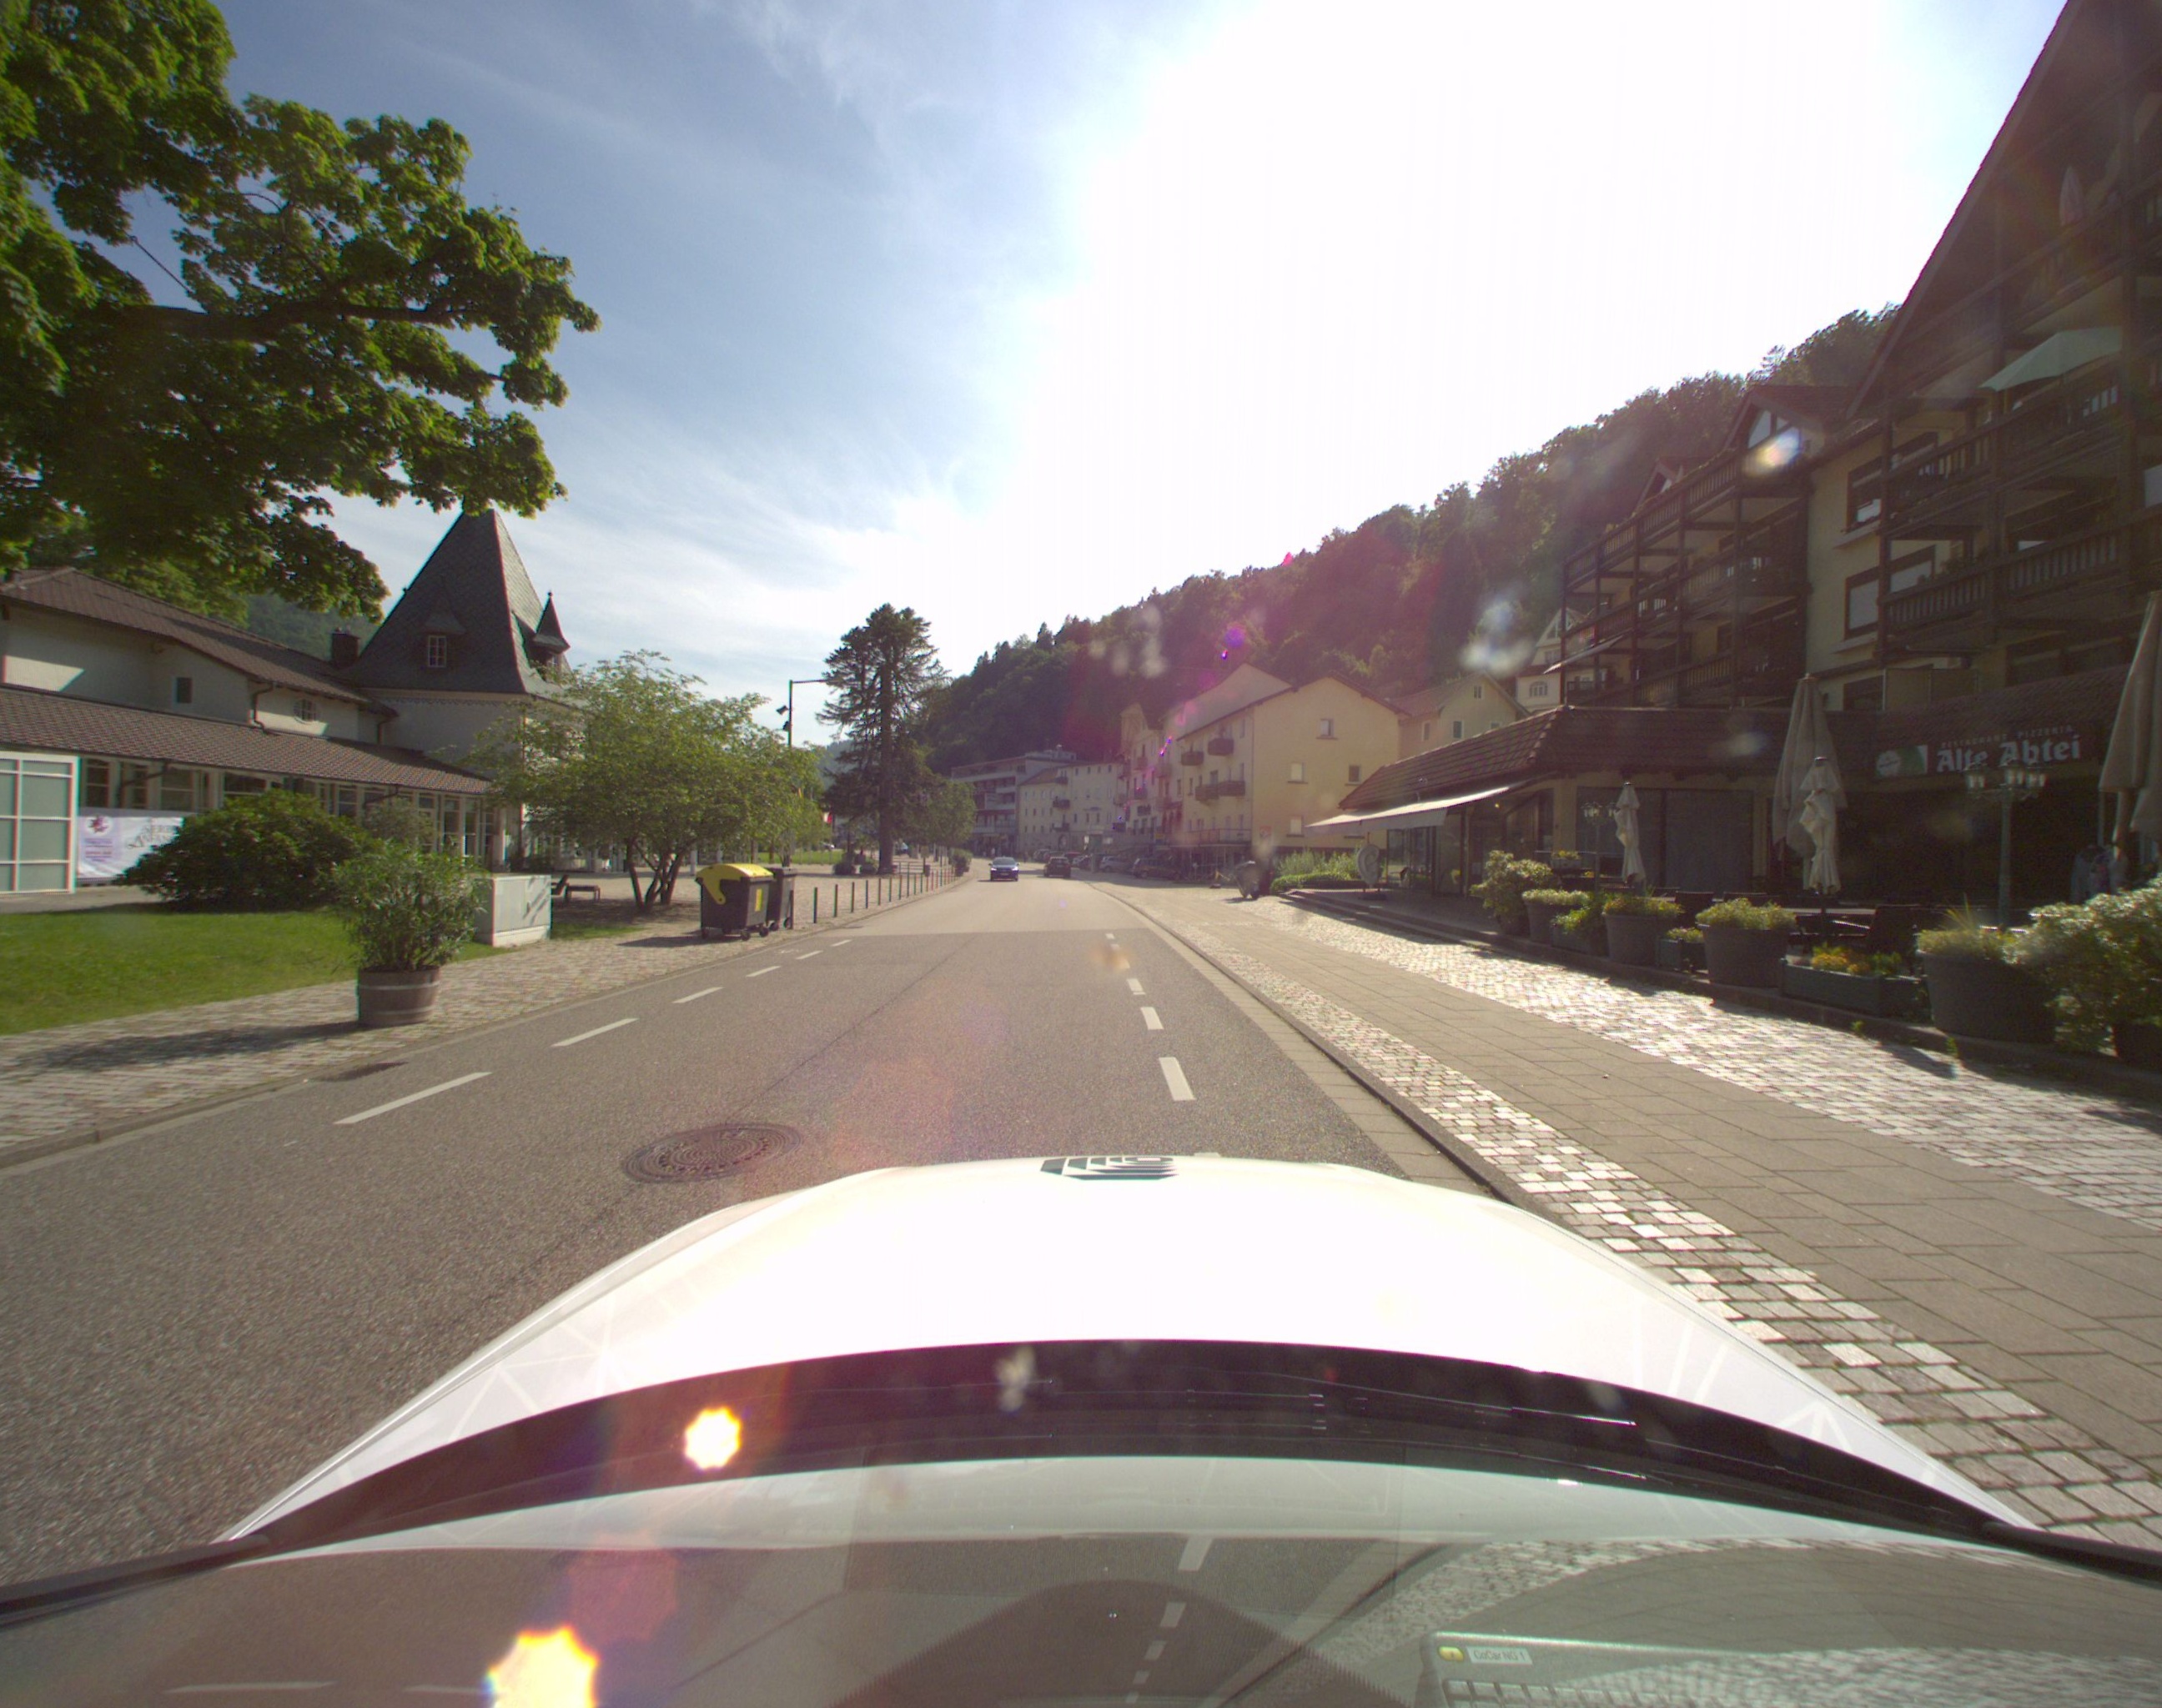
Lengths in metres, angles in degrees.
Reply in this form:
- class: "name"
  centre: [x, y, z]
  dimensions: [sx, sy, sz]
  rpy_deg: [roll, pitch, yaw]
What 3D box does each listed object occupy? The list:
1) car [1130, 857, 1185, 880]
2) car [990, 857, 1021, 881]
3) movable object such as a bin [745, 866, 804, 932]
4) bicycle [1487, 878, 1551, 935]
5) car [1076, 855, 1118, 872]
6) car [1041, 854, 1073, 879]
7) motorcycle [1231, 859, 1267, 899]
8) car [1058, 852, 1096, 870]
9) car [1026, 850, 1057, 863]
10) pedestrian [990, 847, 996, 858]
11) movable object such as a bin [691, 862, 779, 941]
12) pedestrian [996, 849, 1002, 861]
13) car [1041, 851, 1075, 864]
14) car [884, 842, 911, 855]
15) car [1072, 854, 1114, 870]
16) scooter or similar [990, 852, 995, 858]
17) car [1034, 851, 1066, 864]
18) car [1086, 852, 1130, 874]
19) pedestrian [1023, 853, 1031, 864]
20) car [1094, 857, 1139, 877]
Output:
- class: "car"
  centre: [5.883, 1.118, 63.122]
  dimensions: [3.861, 1.554, 1.754]
  rpy_deg: [4, 0, -11]
- class: "car"
  centre: [-4.753, 0.913, 51.880]
  dimensions: [1.737, 1.462, 4.183]
  rpy_deg: [-1, 0, -2]
- class: "movable object such as a bin"
  centre: [-6.716, 0.971, 17.899]
  dimensions: [0.753, 1.341, 1.294]
  rpy_deg: [3, 0, -1]
- class: "bicycle"
  centre: [7.353, 0.862, 13.741]
  dimensions: [0.394, 0.864, 1.619]
  rpy_deg: [1, 0, 7]
- class: "car"
  centre: [1.605, 0.919, 82.094]
  dimensions: [3.907, 1.461, 1.731]
  rpy_deg: [4, 0, -8]
- class: "car"
  centre: [-1.814, 0.922, 60.941]
  dimensions: [1.728, 1.574, 3.738]
  rpy_deg: [2, 2, -12]
- class: "motorcycle"
  centre: [5.766, 0.850, 28.071]
  dimensions: [0.695, 1.296, 2.210]
  rpy_deg: [-2, 0, -2]
- class: "car"
  centre: [-0.441, 0.774, 93.303]
  dimensions: [4.082, 1.666, 1.768]
  rpy_deg: [4, 0, -8]
- class: "car"
  centre: [-5.388, 0.295, 110.690]
  dimensions: [3.884, 1.612, 1.756]
  rpy_deg: [-2, 2, -29]
- class: "pedestrian"
  centre: [-13.003, -0.161, 120.296]
  dimensions: [0.762, 1.594, 0.622]
  rpy_deg: [2, 0, -31]
- class: "movable object such as a bin"
  centre: [-6.766, 0.895, 15.997]
  dimensions: [1.075, 1.427, 1.376]
  rpy_deg: [3, 0, -2]
- class: "pedestrian"
  centre: [-12.187, 0.155, 120.800]
  dimensions: [0.673, 1.728, 0.701]
  rpy_deg: [2, 0, -31]
- class: "car"
  centre: [-2.955, 0.450, 105.611]
  dimensions: [4.033, 1.516, 1.756]
  rpy_deg: [-2, 3, -29]
- class: "car"
  centre: [-28.678, -0.872, 127.046]
  dimensions: [1.871, 1.953, 4.956]
  rpy_deg: [0, 0, -44]
- class: "car"
  centre: [1.311, 0.873, 88.657]
  dimensions: [4.351, 1.461, 1.768]
  rpy_deg: [3, -2, -6]
- class: "scooter or similar"
  centre: [-13.103, 0.133, 120.452]
  dimensions: [0.600, 0.950, 0.470]
  rpy_deg: [2, 0, -31]
- class: "car"
  centre: [-4.088, 0.471, 108.367]
  dimensions: [3.884, 1.549, 1.756]
  rpy_deg: [-2, 3, -29]
- class: "car"
  centre: [2.631, 0.850, 79.466]
  dimensions: [3.907, 1.804, 1.852]
  rpy_deg: [4, -1, -8]
- class: "pedestrian"
  centre: [-6.944, 0.591, 104.667]
  dimensions: [0.740, 1.442, 0.626]
  rpy_deg: [-1, 1, -35]
- class: "car"
  centre: [3.358, 1.207, 76.764]
  dimensions: [3.907, 1.589, 1.770]
  rpy_deg: [4, 0, -9]
